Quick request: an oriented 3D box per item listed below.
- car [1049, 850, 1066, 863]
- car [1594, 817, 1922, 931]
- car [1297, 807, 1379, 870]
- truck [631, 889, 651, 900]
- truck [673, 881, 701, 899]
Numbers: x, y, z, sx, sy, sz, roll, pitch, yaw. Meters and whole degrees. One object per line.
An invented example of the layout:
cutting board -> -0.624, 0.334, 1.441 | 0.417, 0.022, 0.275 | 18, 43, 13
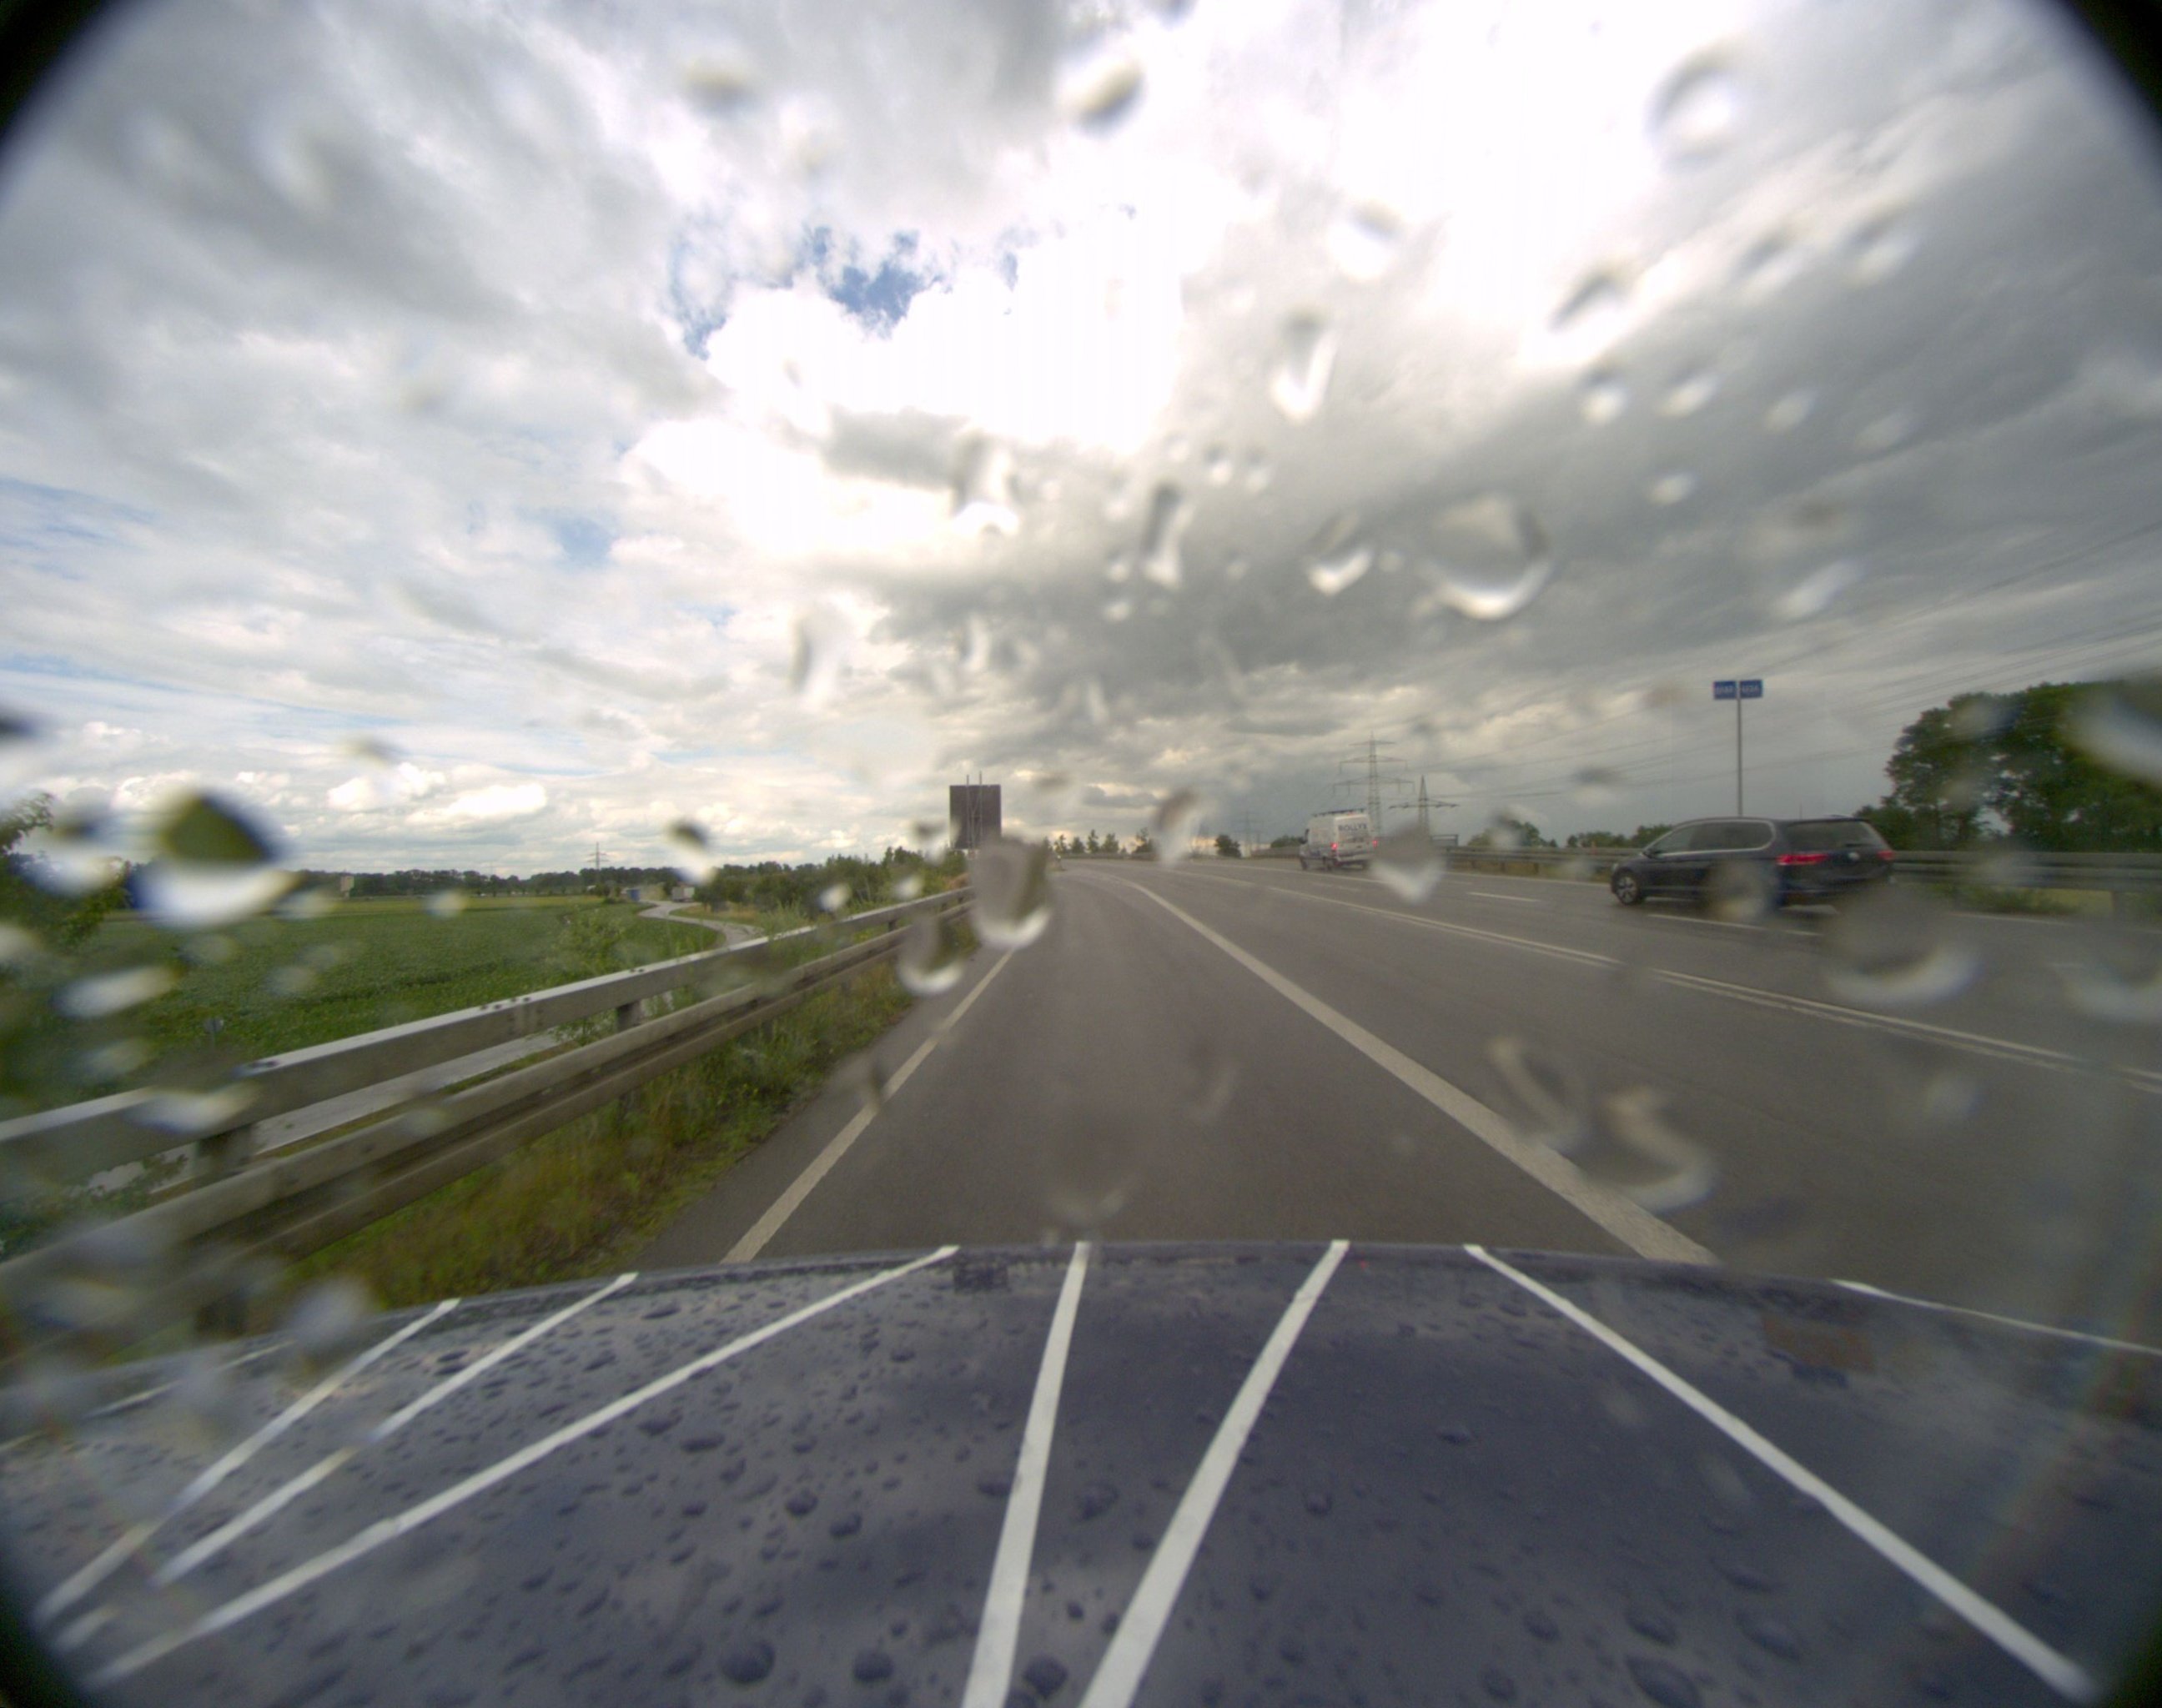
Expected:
car -> -3.401, 0.276, 107.669 | 1.797, 1.758, 3.996 | -2, 1, -10
car -> 11.545, 0.269, 13.518 | 1.712, 1.600, 4.636 | -3, 1, 1
car -> 11.958, -0.714, 35.775 | 1.975, 2.639, 5.459 | -3, 1, 1
truck -> -123.721, 11.370, 213.614 | 6.918, 2.727, 2.631 | -5, 0, 43
truck -> -103.570, 9.459, 199.596 | 3.262, 4.313, 11.659 | -4, 1, -43
